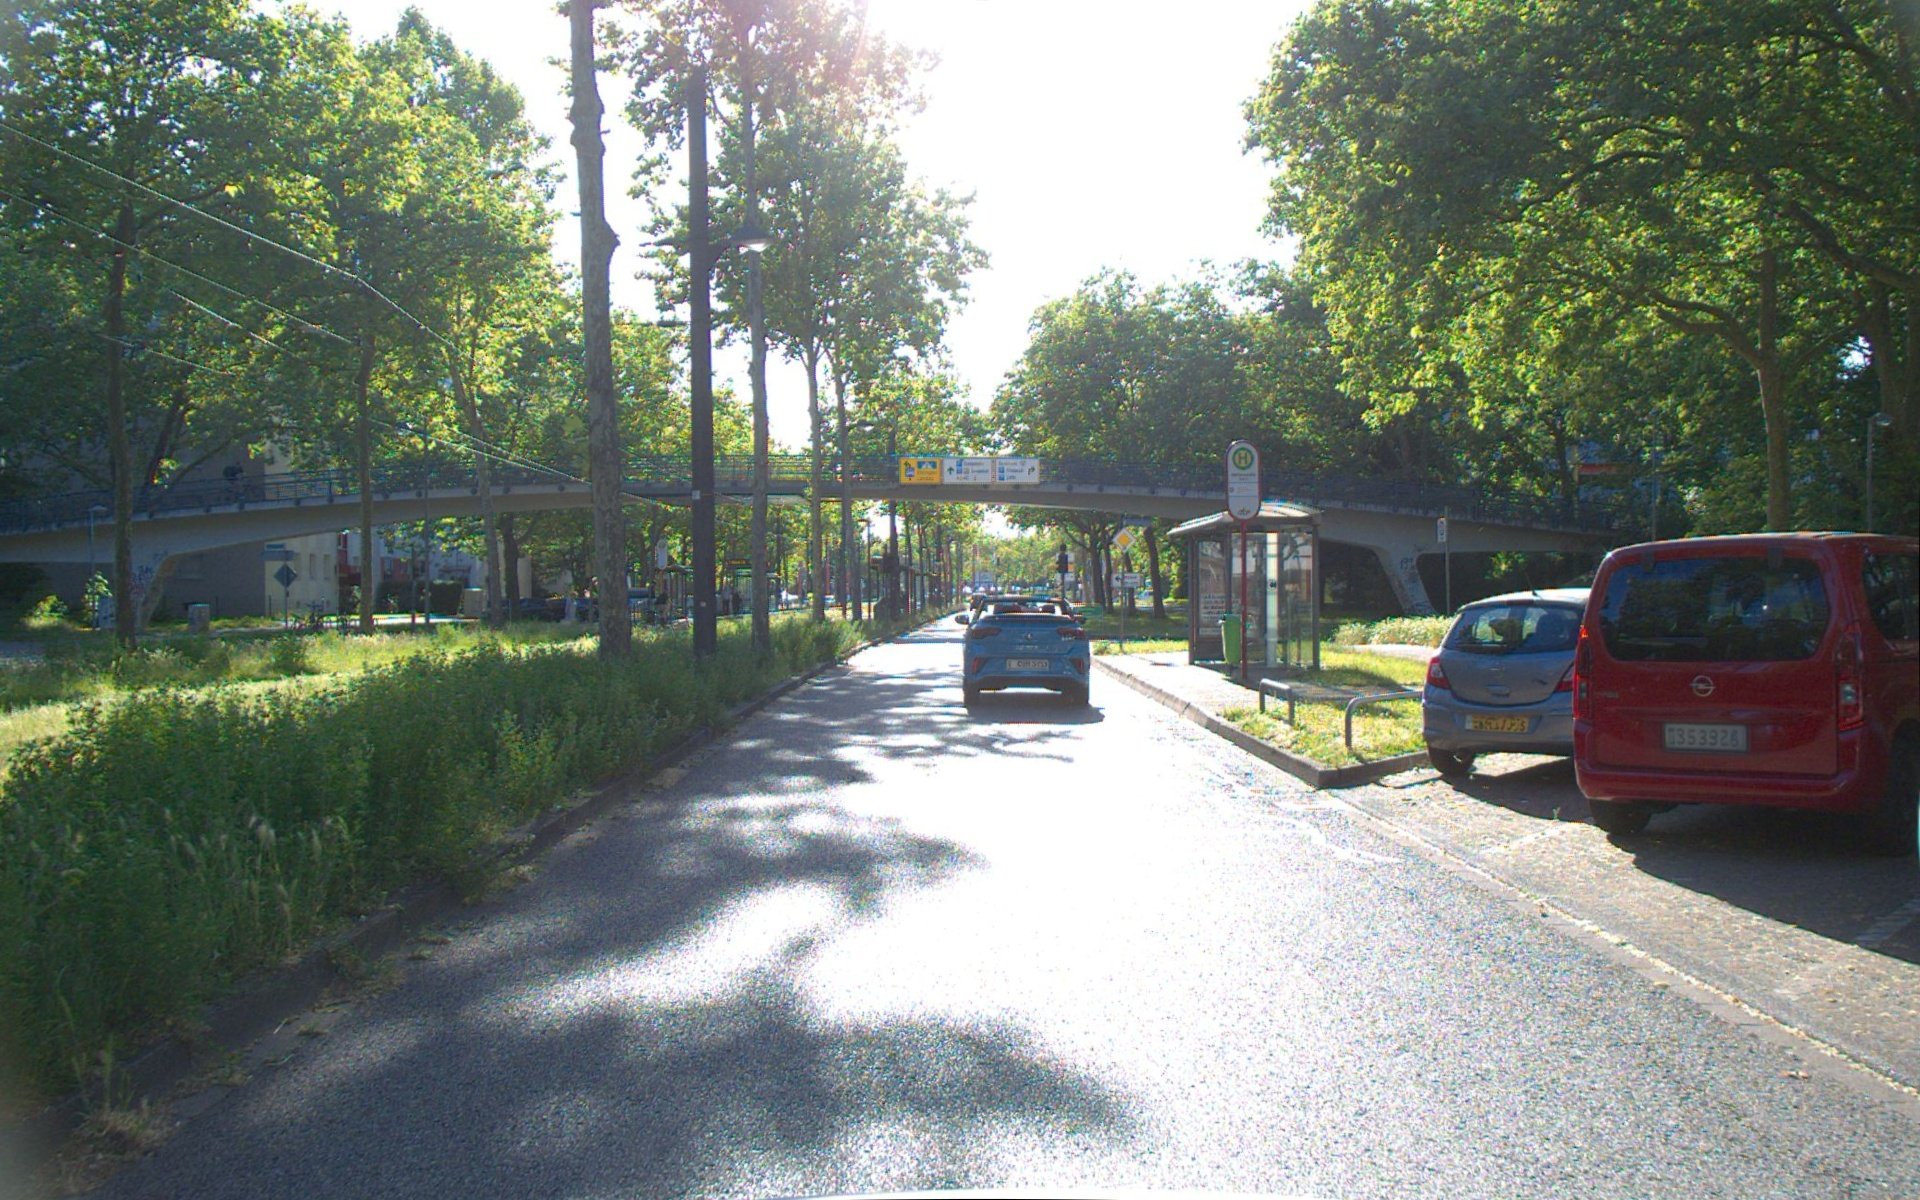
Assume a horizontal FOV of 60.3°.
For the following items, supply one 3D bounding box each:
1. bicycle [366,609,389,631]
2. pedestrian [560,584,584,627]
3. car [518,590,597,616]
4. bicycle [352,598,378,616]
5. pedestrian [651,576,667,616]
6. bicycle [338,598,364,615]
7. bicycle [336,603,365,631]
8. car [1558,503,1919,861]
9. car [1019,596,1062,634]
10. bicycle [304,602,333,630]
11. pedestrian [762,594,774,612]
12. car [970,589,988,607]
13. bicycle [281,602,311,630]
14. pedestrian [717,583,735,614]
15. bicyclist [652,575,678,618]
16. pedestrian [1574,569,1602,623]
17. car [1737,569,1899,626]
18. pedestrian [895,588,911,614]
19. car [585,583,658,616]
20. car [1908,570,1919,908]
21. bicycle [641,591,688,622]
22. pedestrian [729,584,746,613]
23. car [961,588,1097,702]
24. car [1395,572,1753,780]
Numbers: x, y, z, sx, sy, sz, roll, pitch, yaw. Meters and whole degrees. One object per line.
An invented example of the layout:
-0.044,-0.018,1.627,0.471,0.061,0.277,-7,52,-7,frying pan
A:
-22.002,0.748,62.519,0.425,0.792,1.174,1,0,1,bicycle
-15.603,0.233,66.515,0.710,1.703,1.048,1,0,-3,pedestrian
-23.235,0.186,95.489,4.156,1.453,1.677,0,1,-38,car
-34.699,0.389,96.502,0.681,0.944,2.595,1,1,-2,bicycle
-13.801,-0.187,75.829,0.499,1.801,0.477,1,-1,-40,pedestrian
-35.521,0.380,96.514,0.681,0.944,2.595,1,1,-2,bicycle
-23.267,0.628,63.144,0.425,1.026,1.687,1,1,1,bicycle
5.612,0.386,10.681,3.922,1.875,1.740,-3,0,-45,car
3.890,0.723,80.979,1.941,1.823,4.614,-1,0,1,car
-24.669,0.613,63.636,0.425,1.026,1.687,1,1,1,bicycle
-13.031,0.218,112.388,0.680,1.147,0.662,-3,-1,2,pedestrian
1.811,-0.190,158.758,1.675,1.631,3.350,0,0,0,car
-25.085,0.606,62.505,0.425,1.026,1.687,1,1,1,bicycle
-12.765,-0.069,90.283,0.698,1.663,0.732,-2,0,17,pedestrian
-11.753,-0.151,65.902,0.935,1.660,0.814,1,1,-6,bicyclist
21.454,-0.148,56.501,0.646,1.808,0.738,-1,1,-8,pedestrian
24.109,-0.092,46.555,3.654,1.521,1.709,0,2,-2,car
-2.885,0.056,83.560,0.719,1.274,0.587,1,0,-5,pedestrian
-22.801,-0.018,111.368,4.453,2.099,1.875,0,1,-38,car
5.711,0.565,7.366,3.600,1.521,1.655,-3,0,-45,car
-11.771,0.264,65.911,1.796,1.167,0.814,1,1,-6,bicycle
-12.000,-0.072,89.165,0.667,1.540,0.645,-2,0,13,pedestrian
0.922,0.586,24.115,1.740,1.509,4.099,0,0,-1,car
5.429,0.566,14.384,1.493,1.498,3.803,-2,0,44,car
